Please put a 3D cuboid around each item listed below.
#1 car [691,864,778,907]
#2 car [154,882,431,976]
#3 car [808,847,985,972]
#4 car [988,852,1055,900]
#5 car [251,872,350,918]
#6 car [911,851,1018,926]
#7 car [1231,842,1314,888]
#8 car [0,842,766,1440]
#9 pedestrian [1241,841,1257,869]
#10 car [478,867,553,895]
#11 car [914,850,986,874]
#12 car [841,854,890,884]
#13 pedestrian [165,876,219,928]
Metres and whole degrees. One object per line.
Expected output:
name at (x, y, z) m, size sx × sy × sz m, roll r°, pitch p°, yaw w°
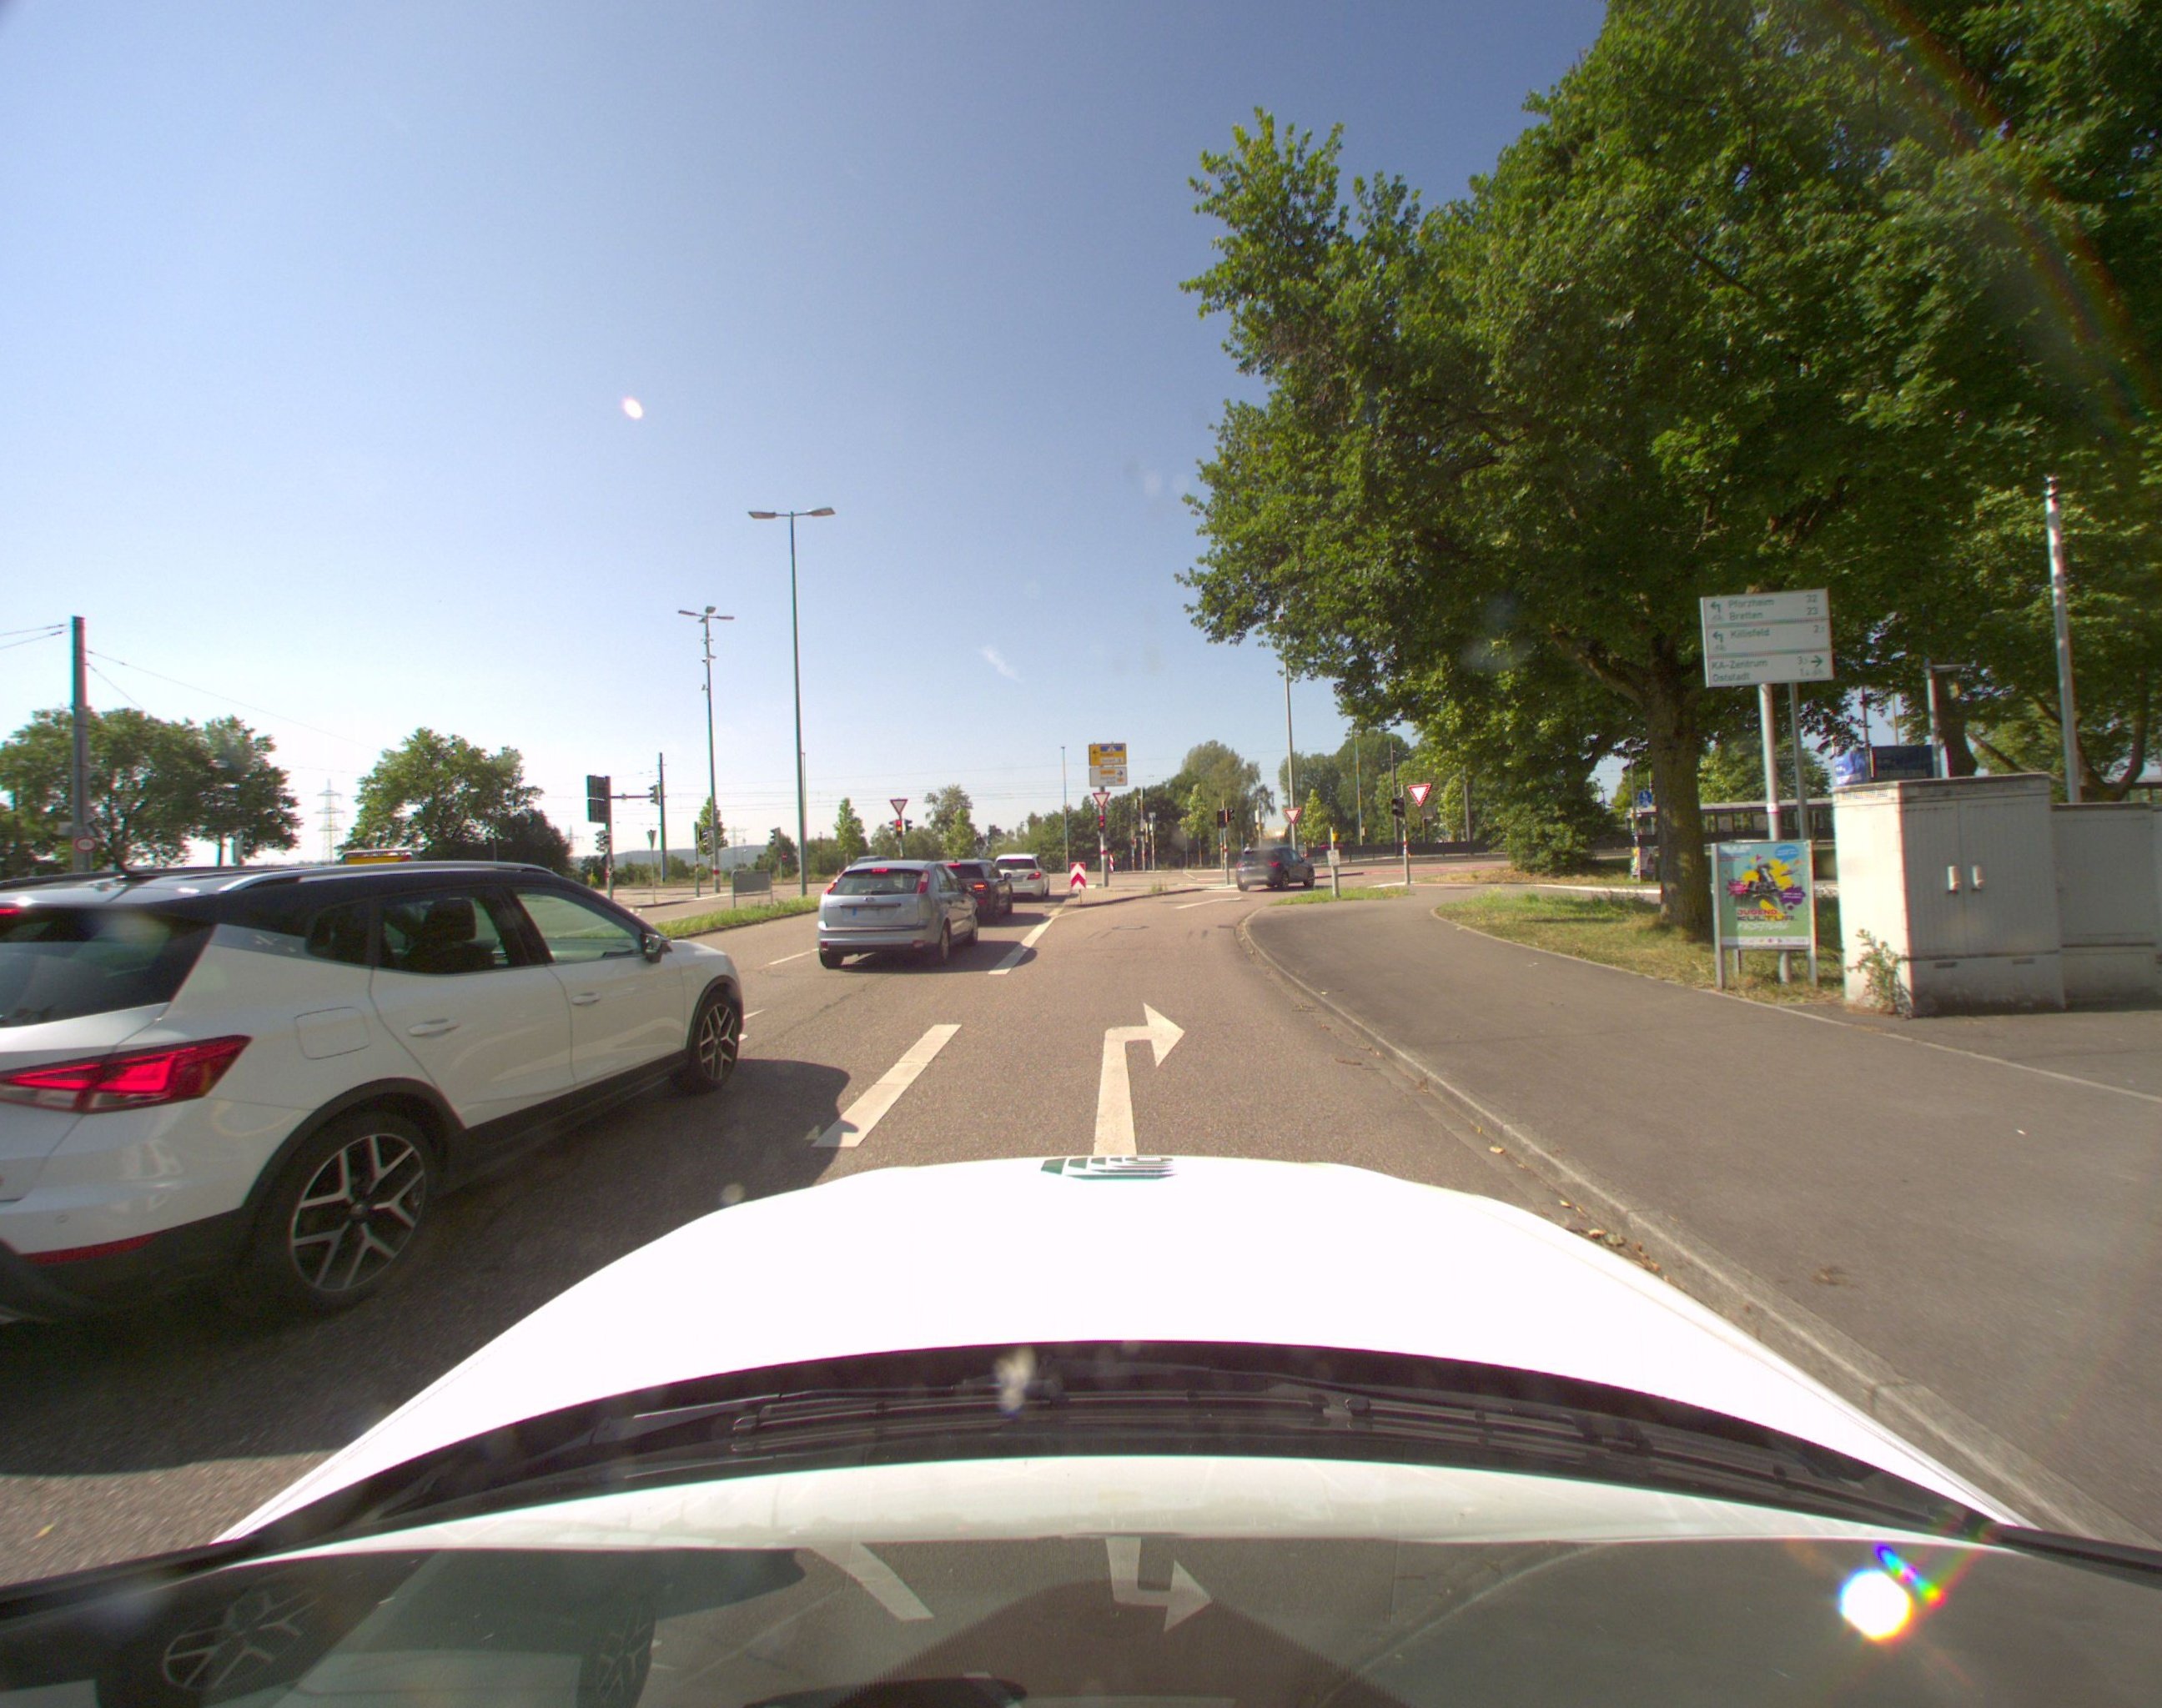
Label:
car at (-9.401, 0.827, 22.247) m, size 1.112 × 1.004 × 2.495 m, roll -3°, pitch 0°, yaw 4°
car at (-15.995, 1.428, 16.881) m, size 1.789 × 1.547 × 4.083 m, roll -2°, pitch -1°, yaw -2°
car at (-2.659, 0.723, 12.728) m, size 1.700 × 1.573 × 4.175 m, roll -2°, pitch 0°, yaw 1°
car at (-1.916, 0.679, 27.591) m, size 1.734 × 1.448 × 4.391 m, roll -2°, pitch 0°, yaw 2°
car at (-35.565, 1.860, 37.117) m, size 3.951 × 1.925 × 1.827 m, roll -1°, pitch 1°, yaw 23°
car at (-2.654, 0.740, 19.556) m, size 1.731 × 1.511 × 4.203 m, roll -3°, pitch 0°, yaw 2°
car at (6.867, 0.380, 29.014) m, size 1.653 × 1.523 × 3.398 m, roll -2°, pitch 0°, yaw 35°
car at (-3.245, 0.747, 4.070) m, size 1.624 × 1.498 × 3.873 m, roll -2°, pitch 2°, yaw 3°
pedestrian at (9.552, 0.038, 46.270) m, size 0.767 × 1.510 × 1.011 m, roll -3°, pitch 1°, yaw 13°
car at (-33.476, 1.618, 48.253) m, size 3.335 × 1.500 × 1.408 m, roll -2°, pitch -2°, yaw -2°
car at (-9.801, 0.594, 60.959) m, size 4.833 × 1.503 × 2.044 m, roll -3°, pitch 0°, yaw -34°
car at (-12.872, 0.858, 48.814) m, size 1.620 × 1.624 × 3.920 m, roll -3°, pitch 1°, yaw 3°
pedestrian at (-30.873, 1.667, 28.302) m, size 0.834 × 1.707 × 0.909 m, roll -4°, pitch 0°, yaw 14°
